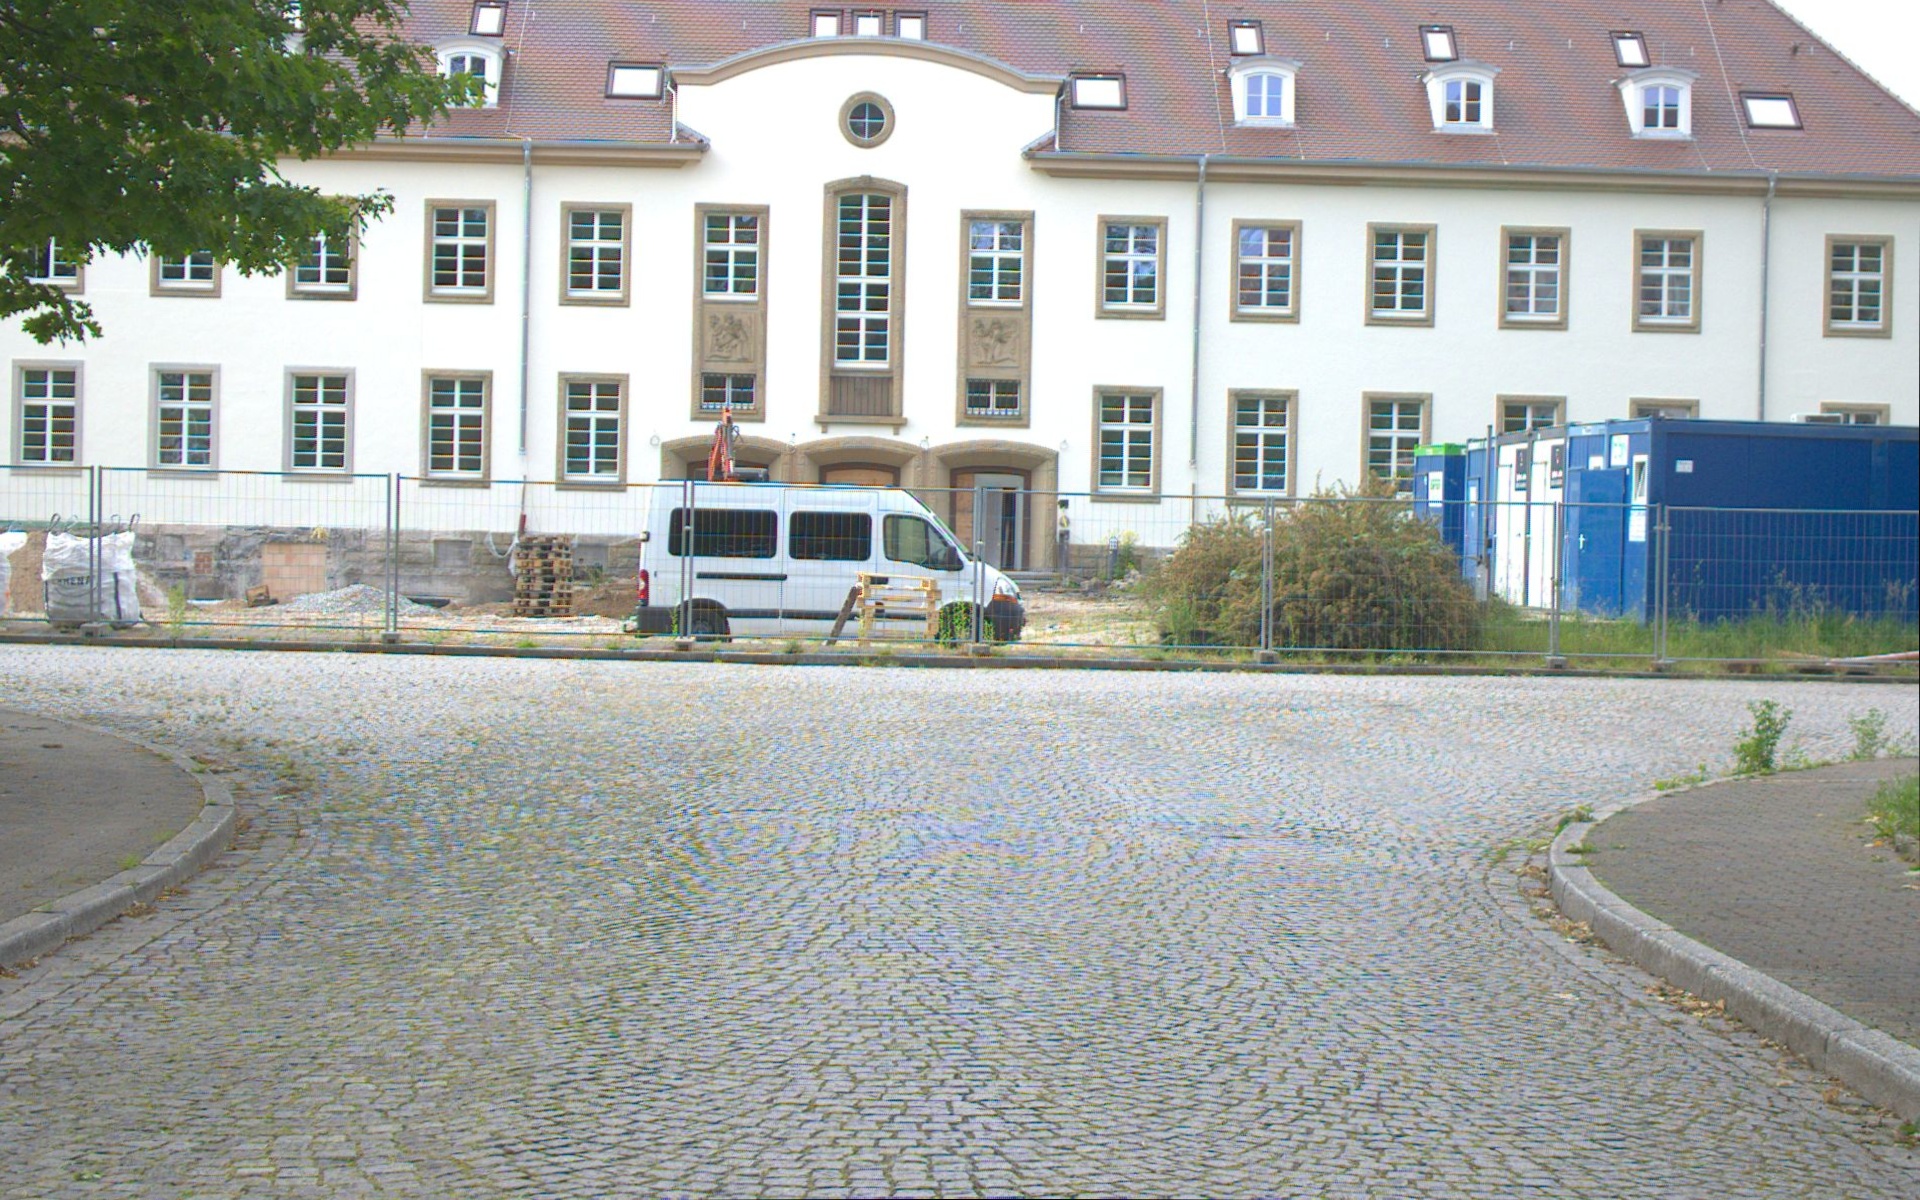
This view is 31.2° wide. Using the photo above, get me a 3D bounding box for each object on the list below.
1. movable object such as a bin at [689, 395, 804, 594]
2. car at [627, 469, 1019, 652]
[{"bbox_3d":[-4.292,-2.078,68.489,1.993,3.758,5.319,2,1,-6],"label":"movable object such as a bin"},{"bbox_3d":[-1.862,-0.556,47.560,5.262,2.336,1.910,2,1,0],"label":"car"}]
